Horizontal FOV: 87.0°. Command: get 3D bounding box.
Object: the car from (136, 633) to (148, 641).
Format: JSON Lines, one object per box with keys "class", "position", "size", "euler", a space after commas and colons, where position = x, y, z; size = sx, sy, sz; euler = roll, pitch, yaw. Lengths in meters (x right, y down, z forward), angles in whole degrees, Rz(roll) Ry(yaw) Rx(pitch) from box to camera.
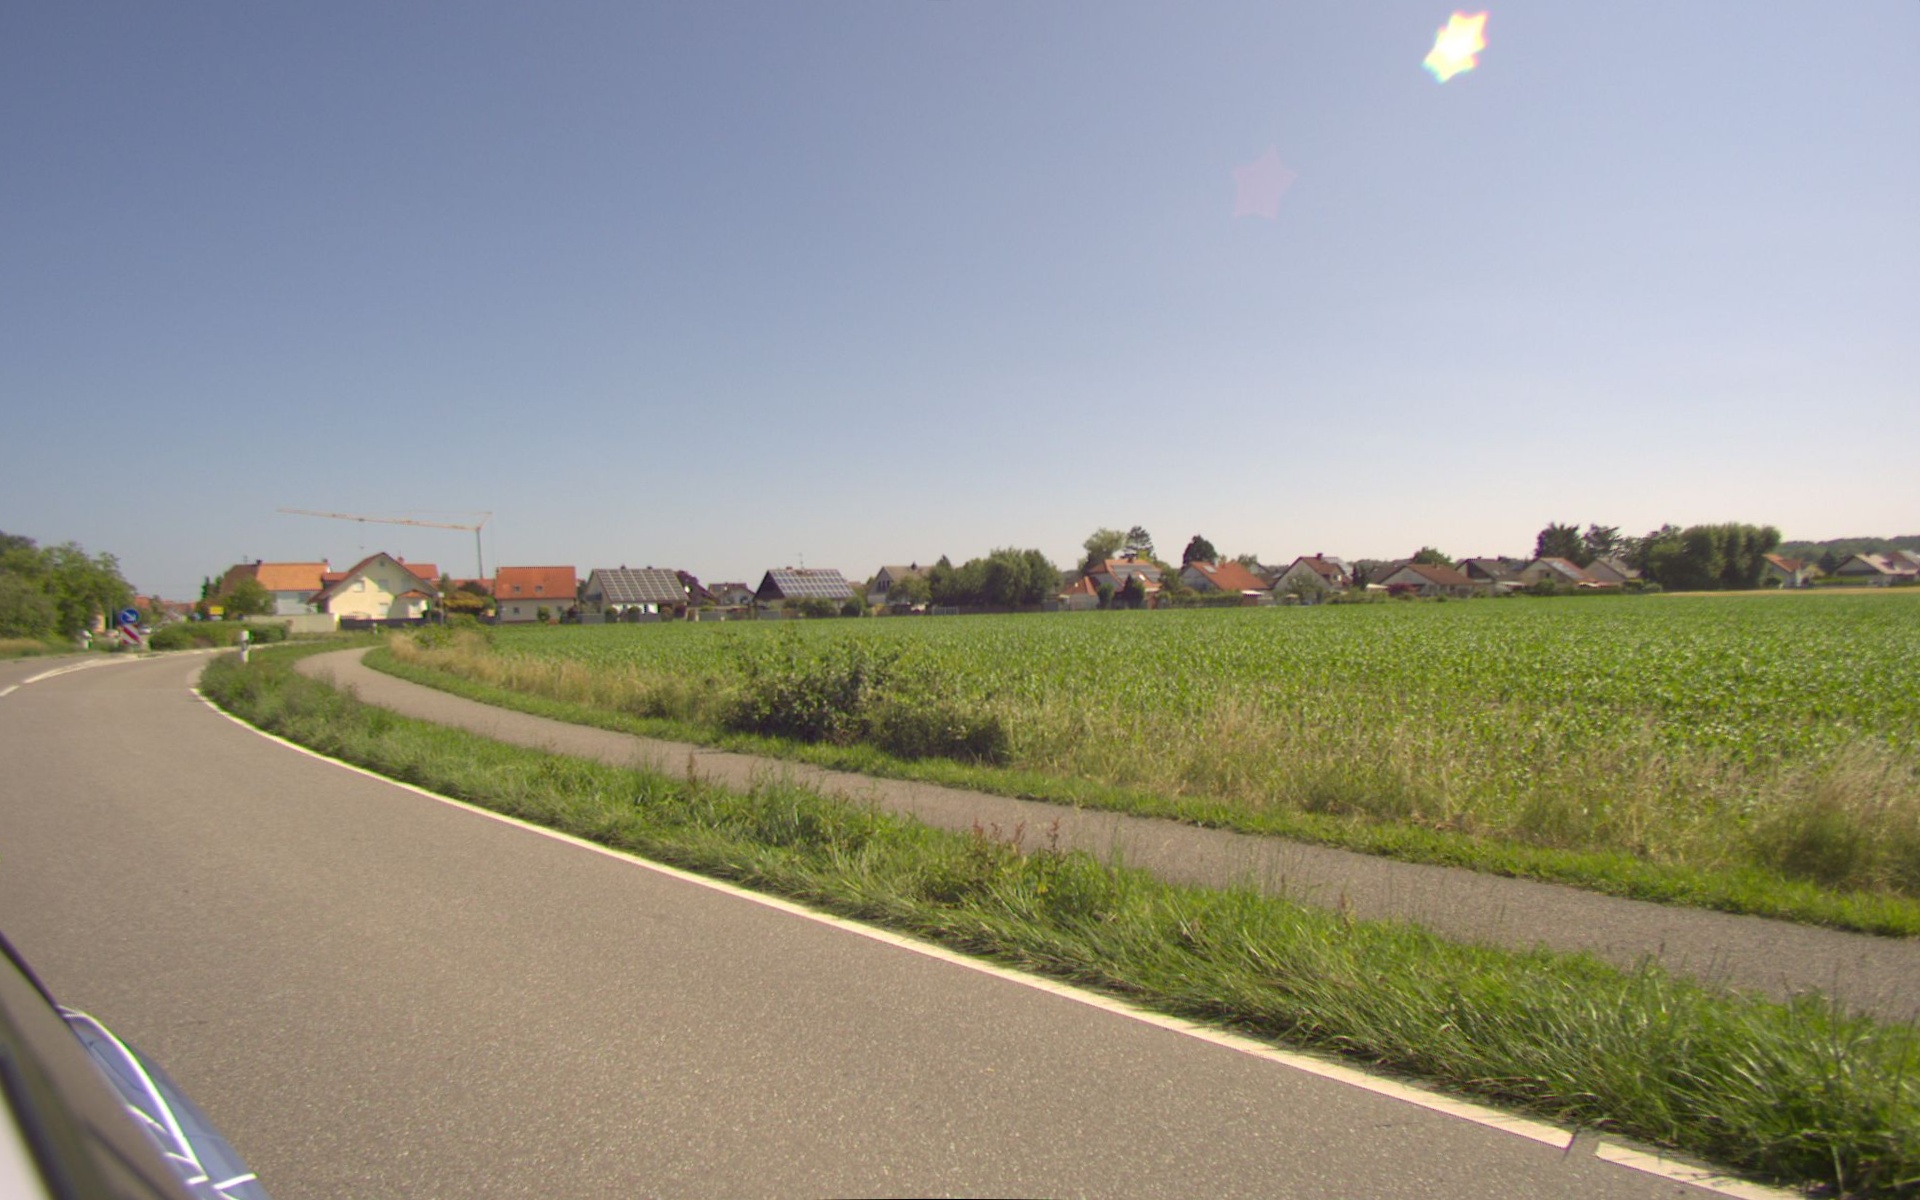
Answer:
{"class": "car", "position": [-155.095, 6.951, 191.866], "size": [1.706, 1.398, 3.539], "euler": [-1, -1, -38]}
